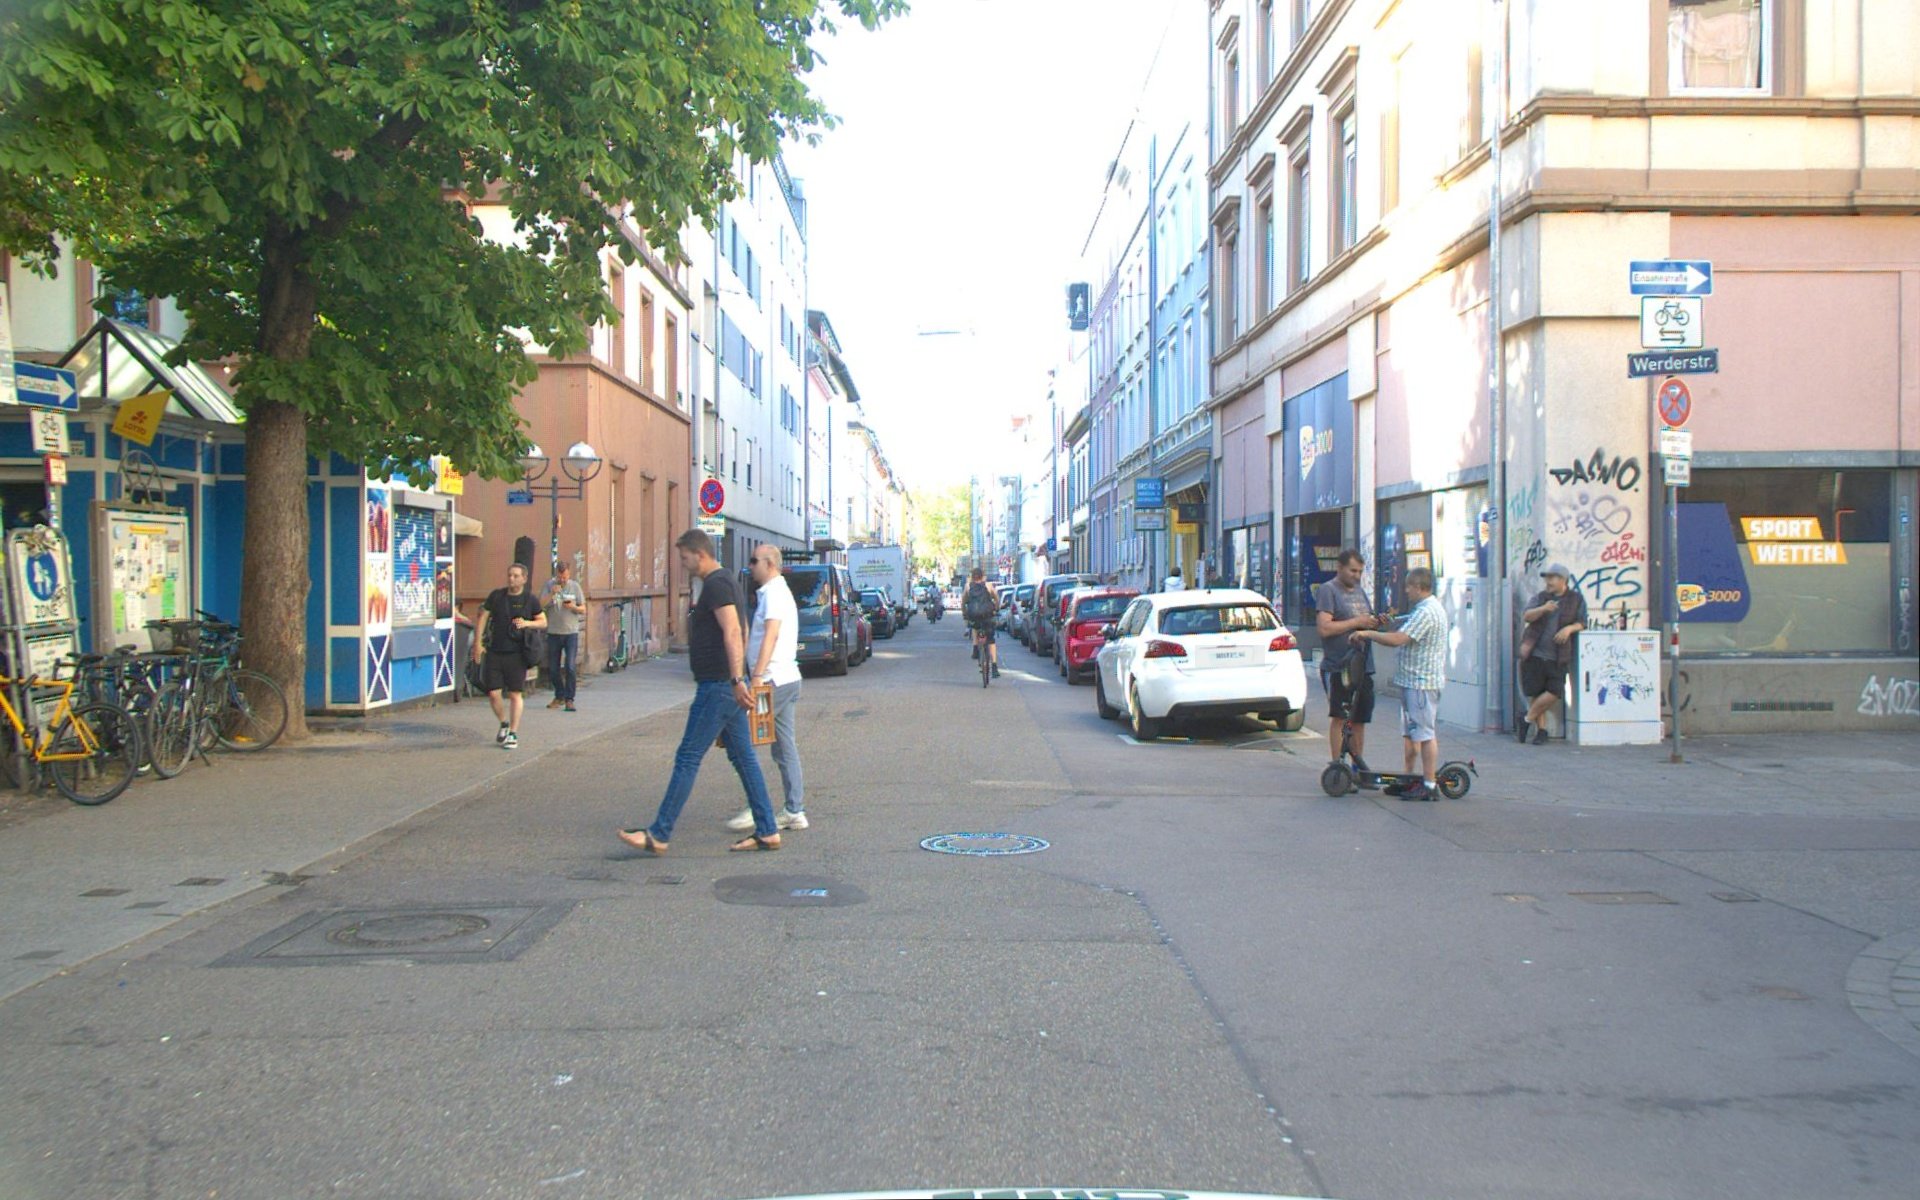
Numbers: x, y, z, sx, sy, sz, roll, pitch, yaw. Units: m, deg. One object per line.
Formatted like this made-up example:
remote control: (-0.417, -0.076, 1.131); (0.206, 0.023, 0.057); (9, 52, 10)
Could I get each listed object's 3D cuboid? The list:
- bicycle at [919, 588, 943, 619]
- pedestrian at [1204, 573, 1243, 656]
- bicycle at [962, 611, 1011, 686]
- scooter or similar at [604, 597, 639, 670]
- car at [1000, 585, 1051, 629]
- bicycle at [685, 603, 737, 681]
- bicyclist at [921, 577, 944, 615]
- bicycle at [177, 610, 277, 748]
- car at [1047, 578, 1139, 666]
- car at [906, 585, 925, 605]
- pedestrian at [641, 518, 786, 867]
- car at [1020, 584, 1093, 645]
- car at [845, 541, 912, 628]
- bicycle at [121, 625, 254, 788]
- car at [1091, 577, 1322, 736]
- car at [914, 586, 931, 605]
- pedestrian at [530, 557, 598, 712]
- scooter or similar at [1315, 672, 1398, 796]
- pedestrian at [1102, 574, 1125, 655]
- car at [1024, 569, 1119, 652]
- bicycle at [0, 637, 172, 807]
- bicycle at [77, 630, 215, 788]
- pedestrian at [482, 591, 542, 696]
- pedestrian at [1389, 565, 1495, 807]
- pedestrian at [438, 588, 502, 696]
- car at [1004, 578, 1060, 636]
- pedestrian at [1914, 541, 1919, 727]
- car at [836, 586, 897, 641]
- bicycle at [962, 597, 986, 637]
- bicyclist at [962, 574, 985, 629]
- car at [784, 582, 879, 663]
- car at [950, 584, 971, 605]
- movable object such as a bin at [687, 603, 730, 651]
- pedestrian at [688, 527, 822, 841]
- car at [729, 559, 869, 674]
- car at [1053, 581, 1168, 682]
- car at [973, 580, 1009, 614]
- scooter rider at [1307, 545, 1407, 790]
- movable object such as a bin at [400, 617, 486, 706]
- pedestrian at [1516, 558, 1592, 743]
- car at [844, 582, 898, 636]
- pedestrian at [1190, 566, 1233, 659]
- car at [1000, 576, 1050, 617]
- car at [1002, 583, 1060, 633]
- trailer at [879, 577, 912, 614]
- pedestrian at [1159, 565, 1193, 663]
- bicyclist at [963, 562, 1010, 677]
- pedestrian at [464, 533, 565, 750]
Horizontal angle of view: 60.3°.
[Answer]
bicycle: (-1.279, 0.132, 74.251); (0.957, 1.337, 2.555); (-2, 1, 1)
pedestrian: (4.977, 0.274, 31.241); (0.576, 1.556, 0.658); (1, 0, -6)
bicycle: (0.395, 0.717, 25.278); (0.663, 1.093, 1.941); (1, 0, -1)
scooter or similar: (-5.894, 0.570, 28.823); (0.340, 1.238, 1.391); (1, 0, -1)
car: (2.454, 0.264, 62.944); (1.652, 1.570, 4.045); (-2, 0, -1)
bicycle: (-4.172, 0.677, 27.607); (0.541, 1.238, 1.978); (1, 0, -18)
bicyclist: (-1.234, -0.179, 74.033); (0.931, 1.656, 0.953); (-2, 0, 0)
bicycle: (-6.820, 0.699, 15.466); (0.488, 1.151, 2.030); (1, 1, -14)
car: (2.597, 0.419, 32.822); (1.537, 1.584, 3.314); (-3, 0, 1)
car: (-4.060, -0.446, 151.355); (1.714, 1.713, 3.795); (-1, 0, -1)
pedestrian: (-1.371, 0.497, 9.339); (0.680, 1.857, 1.002); (1, 0, -2)
car: (2.520, 0.369, 43.960); (1.521, 1.537, 3.609); (1, 0, -3)
car: (-3.288, -0.604, 68.280); (2.296, 3.349, 7.154); (-2, 0, 0)
bicycle: (-5.872, 0.776, 12.644); (0.286, 1.101, 1.578); (1, 1, -1)
car: (2.594, 0.559, 18.341); (1.751, 1.542, 4.134); (1, 0, -3)
car: (-3.795, -0.434, 168.296); (1.714, 1.853, 3.795); (-1, 0, -1)
pedestrian: (-4.896, 0.425, 20.487); (0.633, 1.865, 0.697); (2, 0, -1)
scooter or similar: (2.950, 0.983, 12.348); (0.385, 0.843, 0.925); (1, 0, 0)
pedestrian: (3.323, 0.310, 35.837); (0.432, 1.734, 0.654); (1, 0, 0)
car: (2.565, 0.233, 38.854); (1.860, 1.825, 4.314); (1, 0, -1)
bicycle: (-6.225, 0.820, 11.354); (1.540, 1.101, 0.347); (1, 0, 10)
bicycle: (-6.175, 0.795, 12.618); (0.286, 1.064, 1.578); (1, 1, -1)
pedestrian: (-6.411, 0.615, 23.685); (0.691, 1.470, 0.617); (1, 0, -2)
pedestrian: (3.434, 0.594, 11.791); (0.519, 1.667, 0.561); (0, -1, 44)
pedestrian: (-6.805, 0.577, 22.981); (0.691, 1.470, 0.617); (1, 0, -2)
car: (2.224, 0.215, 52.085); (1.525, 1.742, 3.558); (1, 0, -1)
pedestrian: (9.383, 0.325, 15.440); (0.676, 1.756, 0.475); (1, 0, -2)
car: (-2.908, 0.378, 52.086); (1.682, 1.504, 4.498); (-3, 1, -1)
bicycle: (0.408, 0.501, 49.124); (0.635, 1.149, 2.135); (1, 0, -1)
bicyclist: (0.403, 0.048, 49.152); (0.657, 1.595, 0.716); (1, 0, -1)
car: (-2.736, 0.468, 35.890); (1.715, 1.548, 3.868); (-3, 0, -1)
car: (0.013, -0.458, 128.296); (1.578, 1.587, 3.610); (0, 1, -1)
movable object such as a bin: (-5.691, 0.606, 37.457); (0.743, 1.085, 0.652); (1, 0, 19)
pedestrian: (-1.252, 0.503, 10.232); (0.746, 1.867, 0.688); (1, 0, -3)
car: (-2.860, 0.242, 30.555); (1.979, 1.912, 5.297); (1, 1, 1)
car: (2.517, 0.516, 28.339); (1.574, 1.600, 3.553); (1, 0, -1)
car: (1.762, -0.168, 94.705); (1.715, 1.911, 3.970); (-1, 0, -3)
scooter rider: (3.031, 0.500, 12.624); (0.553, 1.809, 0.609); (0, -1, 34)
movable object such as a bin: (-6.634, 0.784, 21.262); (0.852, 1.105, 0.774); (1, 0, 0)
pedestrian: (5.545, 0.455, 15.435); (0.588, 1.678, 0.464); (0, 3, 30)
car: (-3.060, 0.277, 57.570); (1.682, 1.679, 4.245); (-3, 1, -1)
pedestrian: (4.859, 0.241, 31.948); (0.618, 1.771, 0.656); (1, 0, -13)
car: (2.775, -0.171, 71.499); (1.879, 1.735, 4.365); (0, 1, -1)
car: (2.391, 0.274, 56.928); (1.662, 1.570, 4.628); (-2, 0, -1)
trailer: (-3.792, -0.257, 97.891); (1.843, 2.129, 3.736); (-1, 0, -1)
pedestrian: (3.950, 0.253, 30.250); (0.549, 1.771, 0.428); (1, 0, 14)
bicyclist: (0.400, 0.289, 25.273); (0.654, 1.706, 1.097); (1, 0, -1)
pedestrian: (-4.030, 0.369, 15.006); (0.702, 1.906, 0.720); (1, 0, -1)
